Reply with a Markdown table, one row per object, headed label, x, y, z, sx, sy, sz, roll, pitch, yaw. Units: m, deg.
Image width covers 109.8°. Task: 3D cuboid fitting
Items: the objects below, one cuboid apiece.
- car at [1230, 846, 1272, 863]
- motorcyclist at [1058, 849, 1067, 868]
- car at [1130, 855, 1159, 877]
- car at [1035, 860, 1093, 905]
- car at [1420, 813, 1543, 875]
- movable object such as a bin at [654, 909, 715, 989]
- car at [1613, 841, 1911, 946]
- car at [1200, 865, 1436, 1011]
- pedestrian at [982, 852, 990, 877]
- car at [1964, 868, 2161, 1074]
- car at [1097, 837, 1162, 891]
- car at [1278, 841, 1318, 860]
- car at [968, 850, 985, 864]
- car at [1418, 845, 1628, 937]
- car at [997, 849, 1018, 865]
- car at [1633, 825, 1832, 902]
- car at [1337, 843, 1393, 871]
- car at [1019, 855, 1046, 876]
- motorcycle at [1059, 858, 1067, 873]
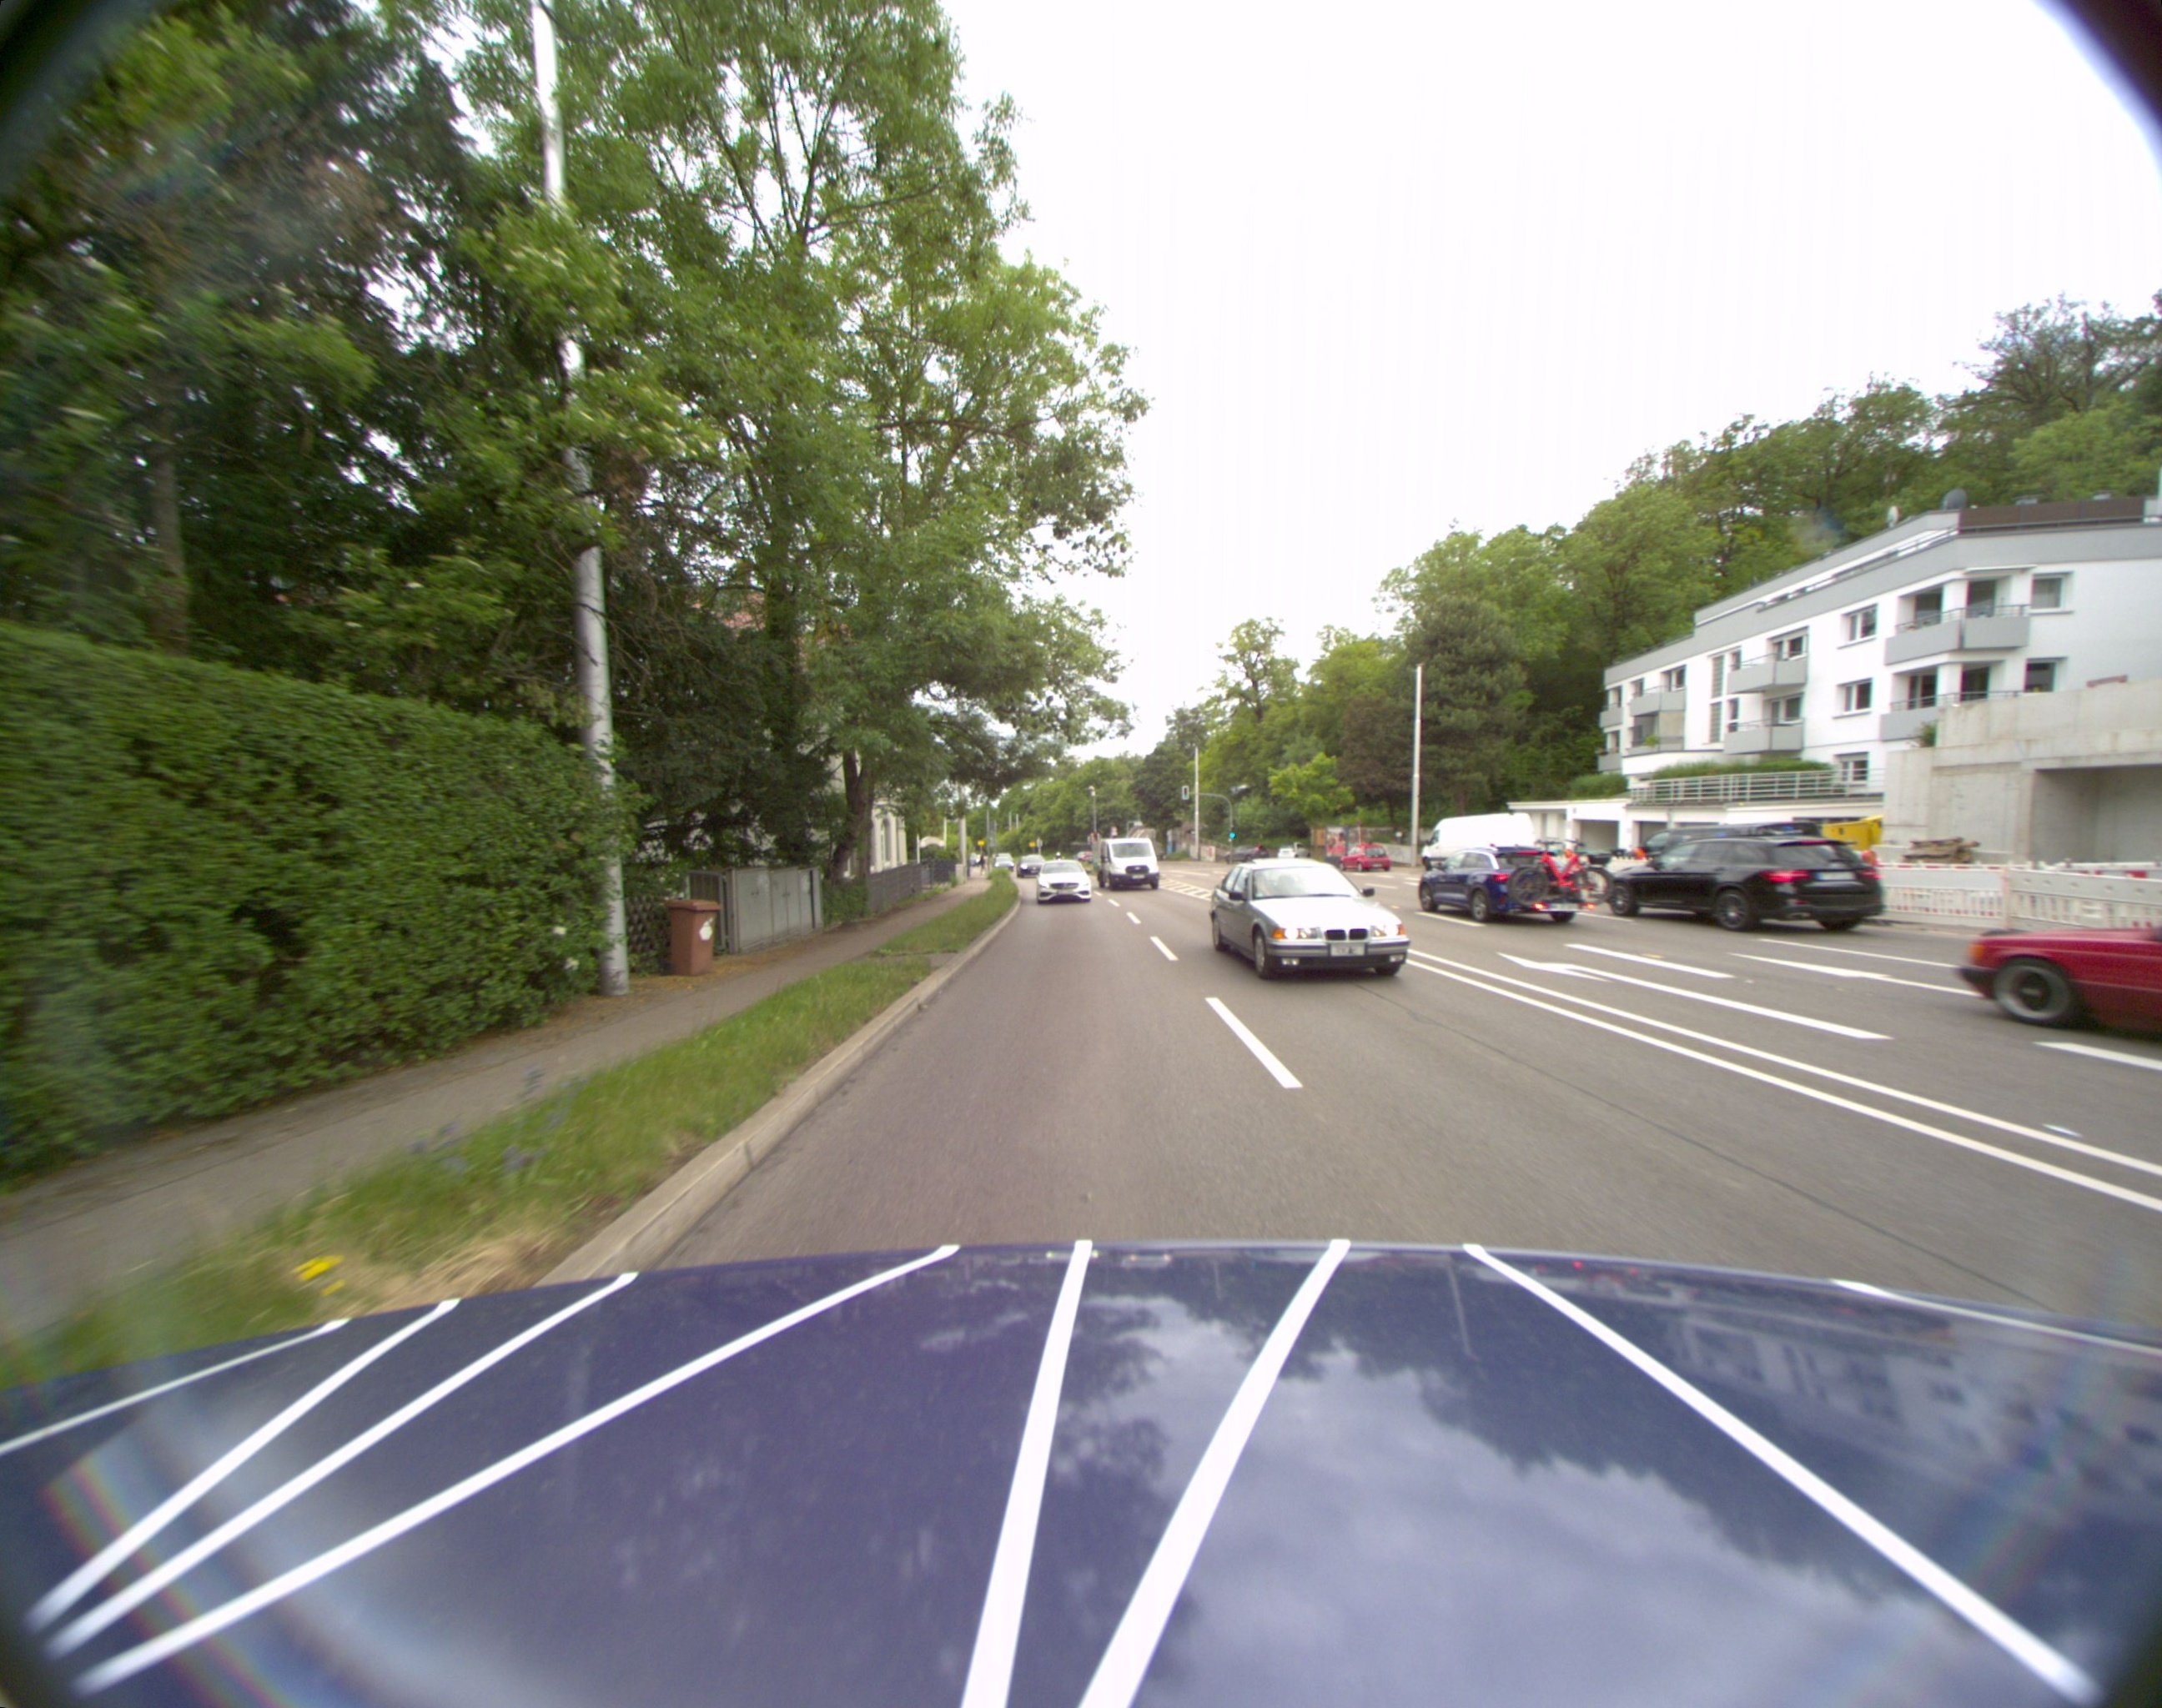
| label | x | y | z | sx | sy | sz | roll | pitch | yaw |
| --- | --- | --- | --- | --- | --- | --- | --- | --- | --- |
| car | 13.834 | 0.026 | 61.898 | 1.569 | 1.277 | 3.287 | -2 | 1 | -30 |
| motorcyclist | -1.445 | 0.377 | 60.089 | 0.619 | 1.463 | 0.930 | -3 | 1 | -3 |
| car | 5.880 | 1.080 | 70.789 | 2.000 | 1.880 | 3.997 | -1 | 0 | -6 |
| car | -0.603 | 0.928 | 26.529 | 1.821 | 1.339 | 3.999 | -1 | 1 | -2 |
| car | 18.215 | -0.457 | 35.033 | 1.999 | 2.511 | 6.532 | -2 | 1 | -2 |
| movable object such as a bin | -4.804 | 1.144 | 9.232 | 0.474 | 0.906 | 0.454 | -1 | 1 | 1 |
| car | 11.994 | 0.593 | 13.847 | 1.779 | 1.588 | 4.226 | -1 | 1 | 3 |
| car | 2.810 | 0.901 | 10.153 | 1.639 | 1.375 | 4.619 | -1 | 1 | -1 |
| pedestrian | -6.959 | 0.768 | 55.603 | 0.513 | 1.824 | 0.494 | -1 | 1 | -1 |
| car | 8.360 | 0.839 | 4.340 | 1.752 | 1.373 | 4.322 | -1 | 1 | 3 |
| car | 2.035 | 0.416 | 33.723 | 1.999 | 2.161 | 6.266 | -1 | 0 | -4 |
| car | 18.066 | -0.298 | 63.174 | 3.301 | 1.434 | 1.579 | -2 | 1 | -41 |
| car | -13.737 | 0.379 | 100.079 | 2.000 | 1.647 | 4.433 | -1 | 1 | -6 |
| car | 8.774 | 0.633 | 15.639 | 1.779 | 1.588 | 4.664 | -1 | 1 | 3 |
| car | -7.080 | 0.269 | 72.940 | 1.676 | 1.523 | 3.996 | -1 | 1 | -10 |
| car | 16.834 | 0.205 | 19.962 | 1.810 | 1.741 | 4.251 | -2 | 1 | 5 |
| car | 15.412 | 0.155 | 41.352 | 1.582 | 1.434 | 3.293 | -1 | 1 | -4 |
| car | -3.483 | 0.814 | 54.429 | 1.734 | 1.403 | 3.997 | -1 | 1 | -6 |
| motorcycle | -1.426 | 0.903 | 59.994 | 0.574 | 1.120 | 2.295 | -3 | 1 | -3 |
